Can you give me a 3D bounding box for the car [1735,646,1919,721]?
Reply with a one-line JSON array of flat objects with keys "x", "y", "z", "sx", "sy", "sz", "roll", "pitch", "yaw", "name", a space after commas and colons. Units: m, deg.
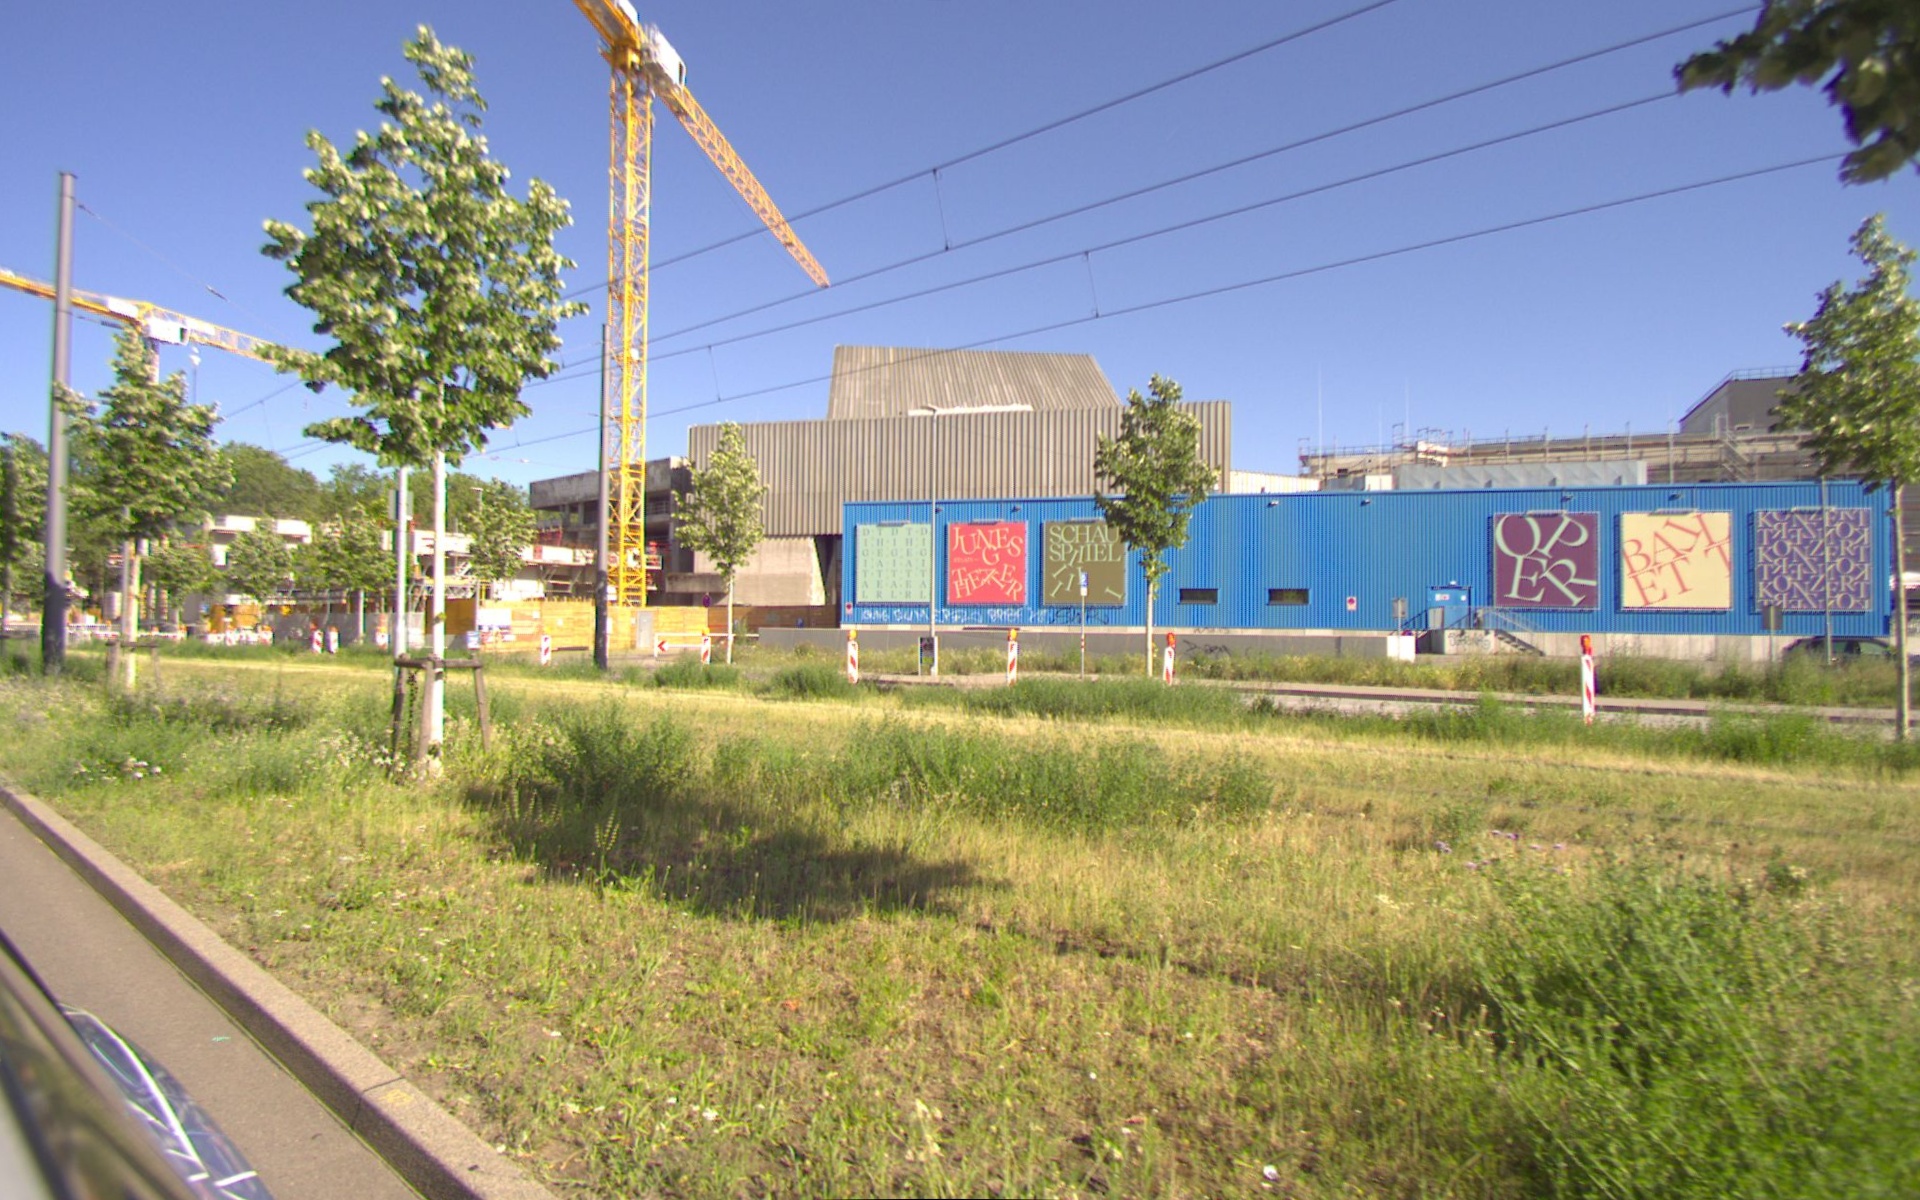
[{"x": 21.330, "y": 1.984, "z": 24.639, "sx": 3.856, "sy": 1.547, "sz": 1.542, "roll": 0, "pitch": 0, "yaw": 40, "name": "car"}]
